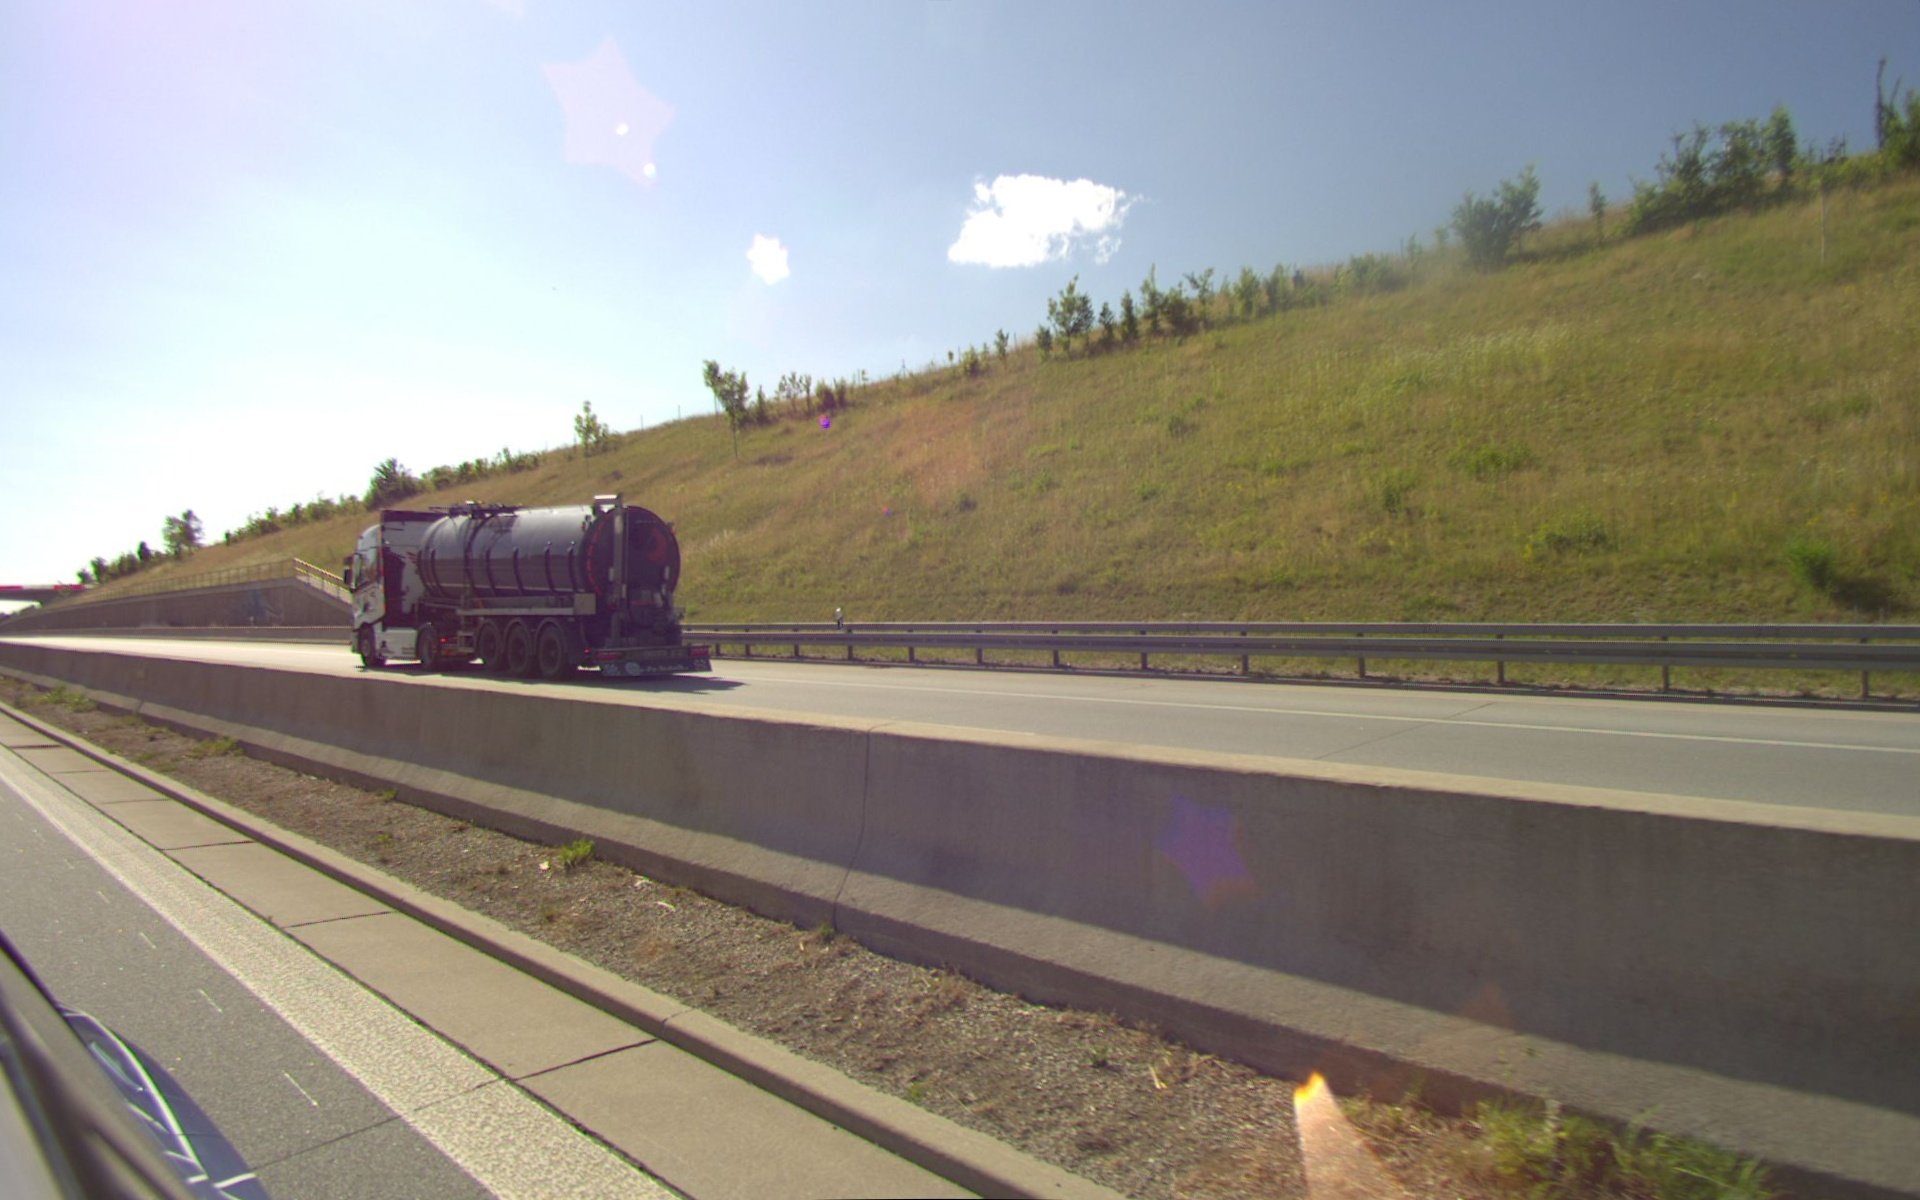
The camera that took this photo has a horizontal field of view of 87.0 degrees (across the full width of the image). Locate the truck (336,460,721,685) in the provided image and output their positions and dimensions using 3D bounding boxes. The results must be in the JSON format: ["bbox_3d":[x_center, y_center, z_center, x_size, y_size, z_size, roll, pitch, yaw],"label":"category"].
[{"bbox_3d":[-10.329,-0.417,22.899,12.439,3.971,2.728,-1,0,40],"label":"truck"}]
